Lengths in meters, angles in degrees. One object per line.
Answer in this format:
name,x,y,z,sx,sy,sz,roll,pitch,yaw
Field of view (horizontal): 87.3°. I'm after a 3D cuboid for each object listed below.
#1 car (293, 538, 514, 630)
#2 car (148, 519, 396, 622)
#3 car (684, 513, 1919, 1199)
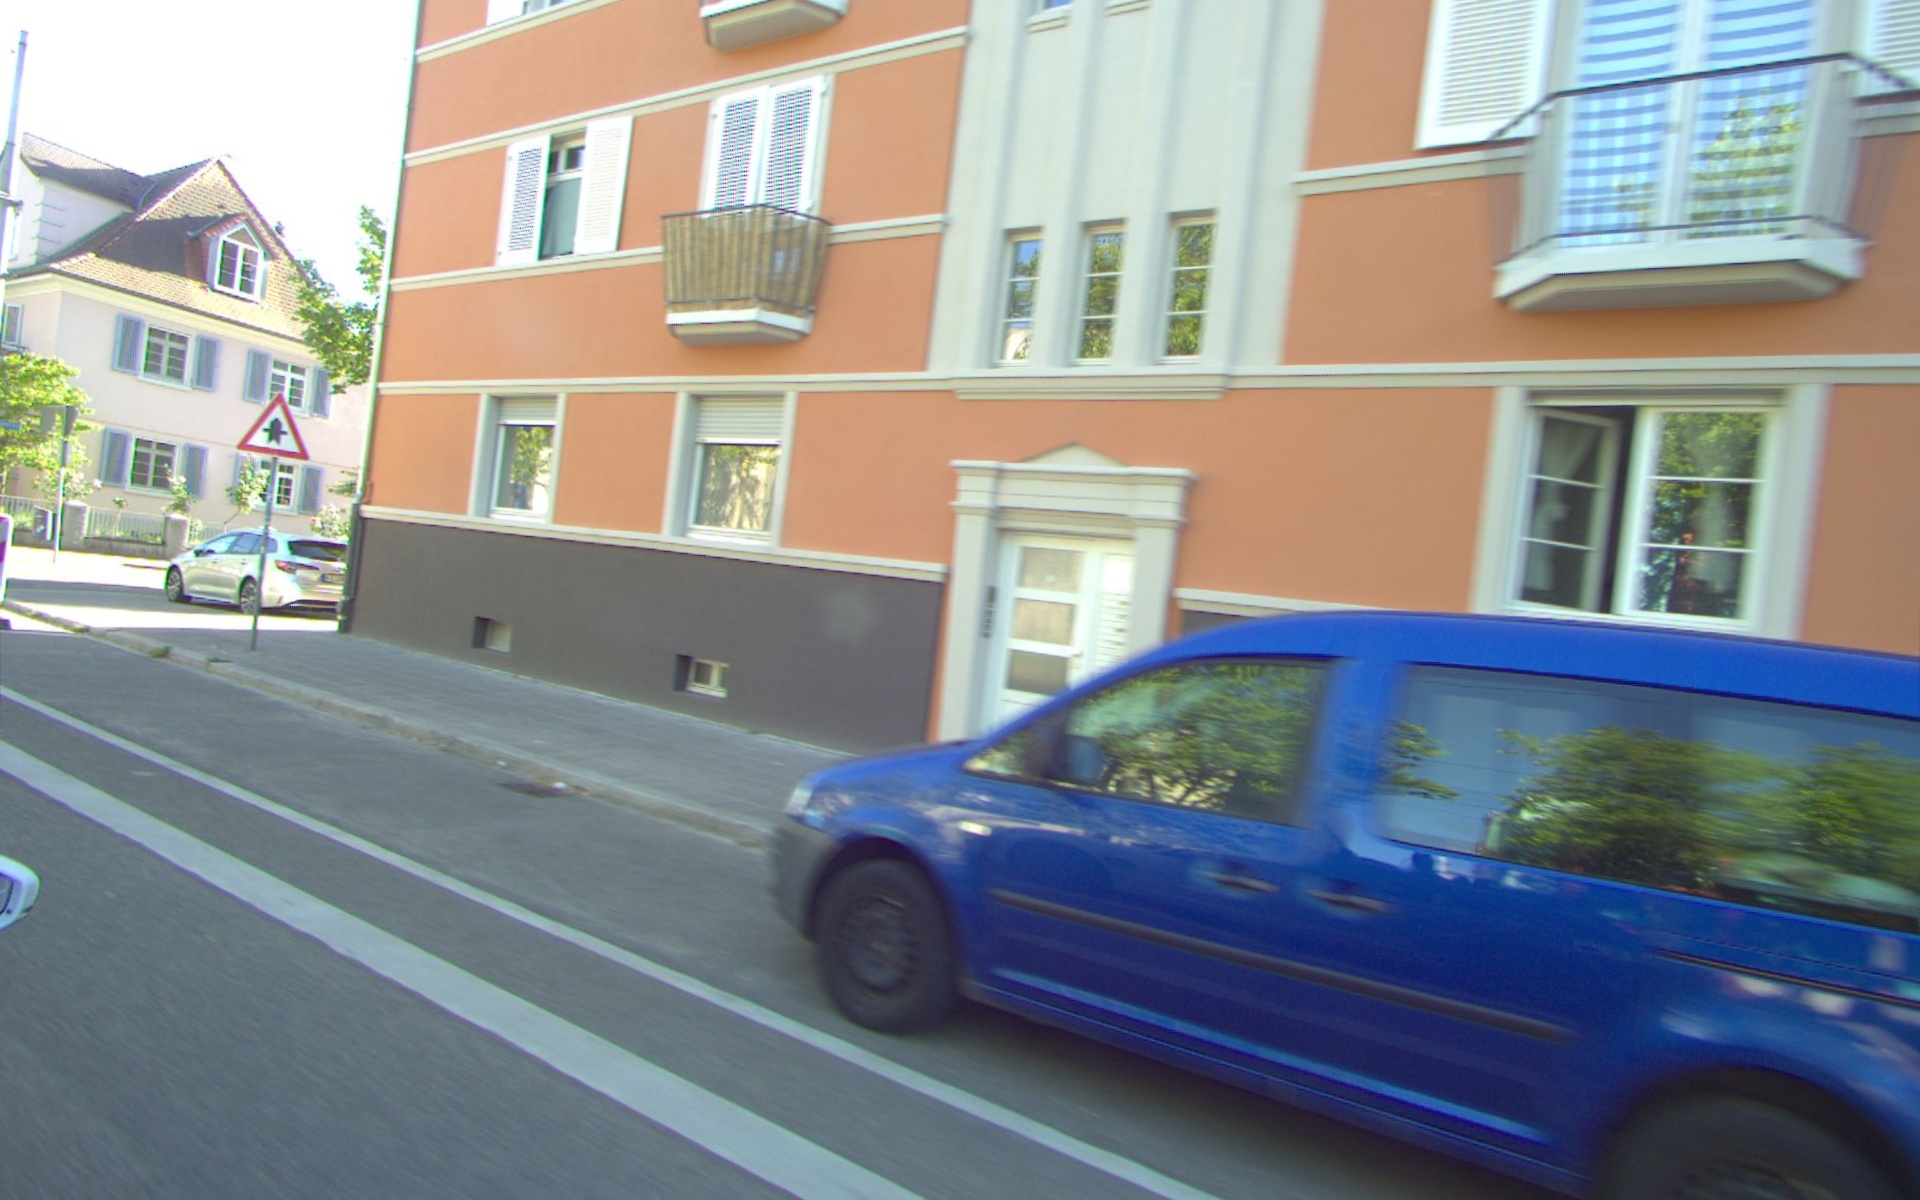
car,-11.213,-0.346,20.208,4.440,1.476,1.776,4,-1,30
car,-11.903,-0.528,17.341,4.440,1.406,1.705,4,-1,30
car,1.218,0.868,3.793,4.199,1.831,1.707,7,-2,30
